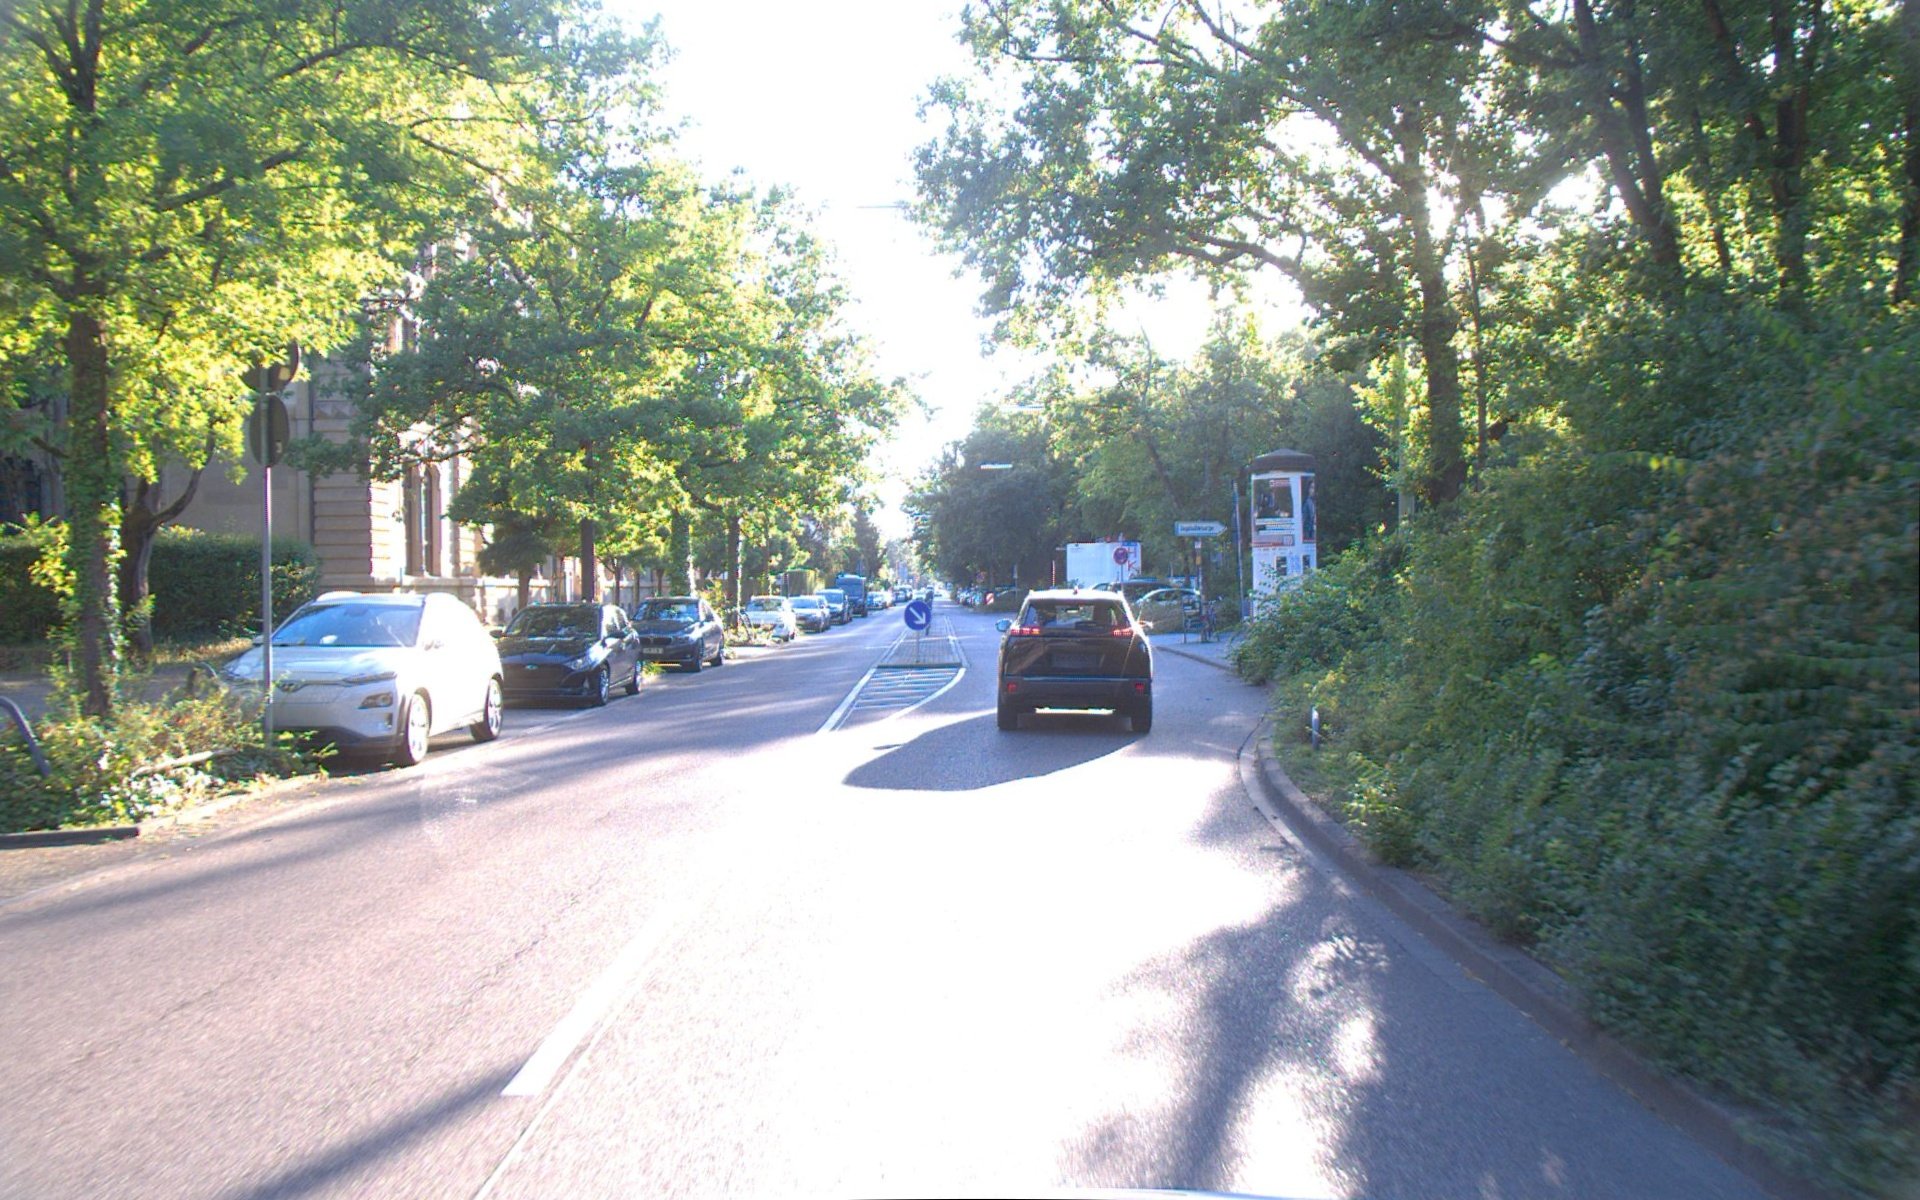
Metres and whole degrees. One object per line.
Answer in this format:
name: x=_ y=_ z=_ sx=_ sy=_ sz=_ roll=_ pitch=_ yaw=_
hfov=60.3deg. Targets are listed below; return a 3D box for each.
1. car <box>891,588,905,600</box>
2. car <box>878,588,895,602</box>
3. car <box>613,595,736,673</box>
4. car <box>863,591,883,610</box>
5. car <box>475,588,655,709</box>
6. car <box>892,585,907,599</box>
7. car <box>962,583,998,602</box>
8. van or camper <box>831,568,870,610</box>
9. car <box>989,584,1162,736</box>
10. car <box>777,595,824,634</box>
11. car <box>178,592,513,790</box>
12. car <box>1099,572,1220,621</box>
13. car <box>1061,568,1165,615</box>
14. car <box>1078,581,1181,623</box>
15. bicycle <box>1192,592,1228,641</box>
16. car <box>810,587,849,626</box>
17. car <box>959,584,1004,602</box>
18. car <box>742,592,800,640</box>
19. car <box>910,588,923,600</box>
car: x=-8.589 y=-0.834 z=229.977 sx=1.861 sy=1.601 sz=3.999 roll=-1 pitch=0 yaw=-1
car: x=-8.174 y=-0.578 z=184.099 sx=1.717 sy=1.438 sz=3.762 roll=-3 pitch=1 yaw=-3
car: x=-6.026 y=0.672 z=35.431 sx=1.765 sy=1.537 sz=4.862 roll=0 pitch=0 yaw=0
car: x=-7.450 y=0.051 z=141.306 sx=1.582 sy=1.541 sz=3.710 roll=-3 pitch=0 yaw=-3
car: x=-5.786 y=0.652 z=24.693 sx=1.744 sy=1.644 sz=4.146 roll=0 pitch=0 yaw=-1
car: x=-8.768 y=-1.170 z=239.899 sx=1.953 sy=2.049 sz=4.000 roll=-1 pitch=0 yaw=0
car: x=2.295 y=-0.845 z=188.925 sx=3.910 sy=2.126 sz=1.756 roll=-1 pitch=0 yaw=-6
van or camper: x=-6.963 y=-0.702 z=106.104 sx=2.184 sy=2.589 sz=7.078 roll=0 pitch=0 yaw=-2
car: x=1.278 y=0.623 z=19.816 sx=1.735 sy=1.595 sz=4.108 roll=0 pitch=1 yaw=-1
car: x=-6.614 y=0.597 z=68.803 sx=1.585 sy=1.522 sz=4.376 roll=-1 pitch=0 yaw=-1
car: x=-5.819 y=0.765 z=16.224 sx=1.767 sy=1.644 sz=4.146 roll=-1 pitch=0 yaw=-1
car: x=7.526 y=-0.143 z=62.654 sx=4.275 sy=1.581 sz=1.727 roll=-3 pitch=0 yaw=-2
car: x=7.411 y=-0.412 z=80.530 sx=4.755 sy=1.949 sz=1.915 roll=-3 pitch=0 yaw=-2
car: x=7.503 y=0.067 z=73.421 sx=4.275 sy=1.564 sz=1.920 roll=-3 pitch=0 yaw=-2
bicycle: x=6.708 y=0.421 z=44.272 sx=0.482 sy=1.168 sz=2.286 roll=-4 pitch=1 yaw=19
car: x=-6.789 y=0.314 z=86.473 sx=1.741 sy=1.898 sz=4.332 roll=1 pitch=1 yaw=-1
car: x=2.038 y=-0.658 z=156.944 sx=4.159 sy=1.474 sz=2.020 roll=-3 pitch=0 yaw=-3
car: x=-6.383 y=0.525 z=56.175 sx=1.585 sy=1.522 sz=3.924 roll=-1 pitch=0 yaw=-1
car: x=-5.652 y=-0.764 z=215.459 sx=1.706 sy=1.483 sz=4.622 roll=-2 pitch=0 yaw=-2
